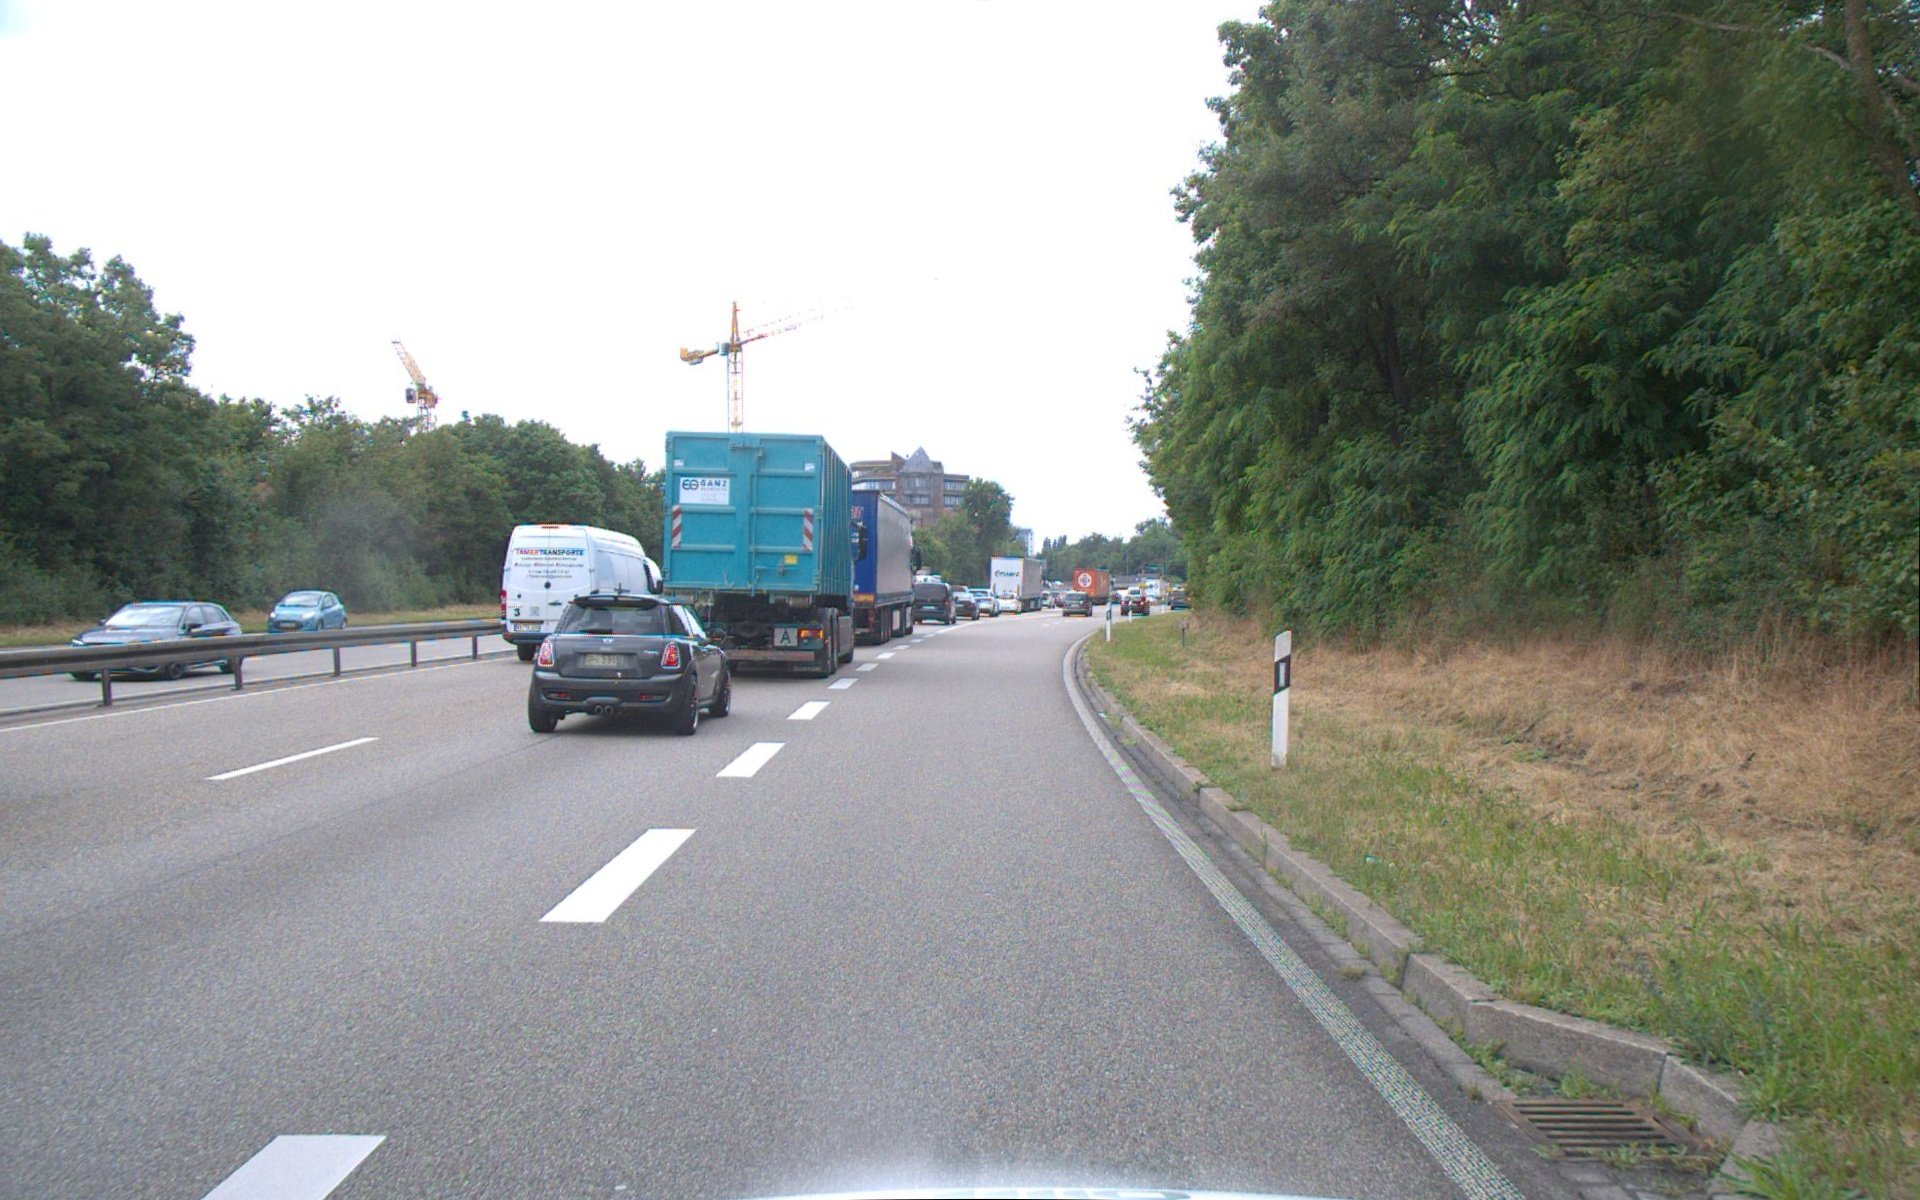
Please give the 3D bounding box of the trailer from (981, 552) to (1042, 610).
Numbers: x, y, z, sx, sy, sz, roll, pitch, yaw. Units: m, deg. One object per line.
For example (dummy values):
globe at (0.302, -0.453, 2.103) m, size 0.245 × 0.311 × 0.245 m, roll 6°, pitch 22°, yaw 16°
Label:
trailer at (4.075, -1.370, 127.258) m, size 3.228 × 4.107 × 13.108 m, roll 1°, pitch 0°, yaw 8°

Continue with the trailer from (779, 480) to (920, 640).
trailer at (-3.035, -1.005, 49.609) m, size 2.571 × 4.093 × 13.468 m, roll 1°, pitch 0°, yaw 3°

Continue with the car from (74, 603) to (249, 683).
car at (-15.174, 0.776, 31.618) m, size 1.670 × 1.418 × 3.513 m, roll 0°, pitch 0°, yaw -1°

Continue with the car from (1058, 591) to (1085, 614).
car at (7.386, 0.171, 109.854) m, size 1.787 × 1.508 × 4.002 m, roll 0°, pitch 0°, yaw 3°

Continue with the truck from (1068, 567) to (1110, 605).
truck at (14.940, -1.601, 190.778) m, size 3.415 × 4.144 × 13.603 m, roll 0°, pitch 0°, yaw 10°

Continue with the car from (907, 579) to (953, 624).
car at (-1.397, 0.087, 77.205) m, size 1.948 × 1.931 × 4.983 m, roll -3°, pitch 0°, yaw -1°

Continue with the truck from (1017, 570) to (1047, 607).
truck at (8.666, -1.347, 198.219) m, size 2.680 × 4.211 × 10.705 m, roll 1°, pitch 0°, yaw 7°

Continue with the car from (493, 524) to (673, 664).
car at (-7.826, -0.103, 35.141) m, size 2.176 × 2.623 × 6.797 m, roll 1°, pitch 0°, yaw 0°

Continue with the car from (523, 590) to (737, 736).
car at (-3.542, 0.626, 18.356) m, size 1.712 × 1.447 × 3.663 m, roll 1°, pitch 0°, yaw -2°

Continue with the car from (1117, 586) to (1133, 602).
car at (22.215, -0.803, 222.837) m, size 1.580 × 2.049 × 4.003 m, roll 0°, pitch 0°, yaw 13°

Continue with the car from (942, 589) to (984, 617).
car at (0.217, 0.173, 90.527) m, size 1.808 × 1.485 × 4.834 m, roll 0°, pitch 0°, yaw 6°

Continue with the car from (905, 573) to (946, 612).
car at (-2.324, -0.509, 114.367) m, size 1.951 × 2.598 × 5.366 m, roll 0°, pitch 0°, yaw 9°

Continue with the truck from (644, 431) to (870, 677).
truck at (-3.511, -0.753, 31.769) m, size 2.869 × 3.863 × 11.331 m, roll 0°, pitch 0°, yaw 0°

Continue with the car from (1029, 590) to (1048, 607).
car at (7.218, -0.156, 151.636) m, size 1.498 × 1.579 × 3.421 m, roll 0°, pitch 0°, yaw 7°

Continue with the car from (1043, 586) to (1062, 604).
car at (10.749, -0.606, 192.387) m, size 1.779 × 2.049 × 4.003 m, roll 0°, pitch 0°, yaw 8°

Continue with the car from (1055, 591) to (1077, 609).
car at (10.411, 0.016, 162.478) m, size 1.680 × 1.713 × 4.003 m, roll 1°, pitch 0°, yaw 10°

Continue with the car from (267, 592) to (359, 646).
car at (-21.552, 0.609, 55.231) m, size 1.643 × 1.747 × 3.775 m, roll 0°, pitch 0°, yaw -1°

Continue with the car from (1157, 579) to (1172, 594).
car at (28.536, -1.927, 230.823) m, size 1.909 × 2.049 × 4.003 m, roll 0°, pitch 0°, yaw 9°

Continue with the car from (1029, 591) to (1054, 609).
car at (7.584, 0.028, 152.739) m, size 1.761 × 1.632 × 4.261 m, roll 1°, pitch 0°, yaw 10°

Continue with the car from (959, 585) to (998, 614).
car at (1.192, -0.029, 102.792) m, size 1.915 × 1.724 × 4.869 m, roll 0°, pitch 0°, yaw 7°

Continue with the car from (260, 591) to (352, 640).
car at (-21.503, 0.487, 54.504) m, size 1.559 × 1.528 × 3.704 m, roll 0°, pitch 0°, yaw 0°

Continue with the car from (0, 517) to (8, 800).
car at (-7.396, 0.409, 8.890) m, size 1.813 × 1.925 × 4.876 m, roll 0°, pitch 0°, yaw -1°

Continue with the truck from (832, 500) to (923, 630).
truck at (-2.730, -1.119, 56.372) m, size 2.508 × 4.113 × 6.590 m, roll 1°, pitch 0°, yaw 1°

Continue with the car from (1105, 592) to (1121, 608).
car at (19.514, -0.013, 211.107) m, size 1.580 × 1.982 × 3.708 m, roll 1°, pitch 0°, yaw 13°

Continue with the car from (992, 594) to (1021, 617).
car at (3.257, 0.378, 114.365) m, size 1.727 × 1.504 × 4.092 m, roll -1°, pitch 0°, yaw 5°

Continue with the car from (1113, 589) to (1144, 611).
car at (12.011, -0.015, 117.906) m, size 1.786 × 1.508 × 4.004 m, roll 0°, pitch 0°, yaw 12°
